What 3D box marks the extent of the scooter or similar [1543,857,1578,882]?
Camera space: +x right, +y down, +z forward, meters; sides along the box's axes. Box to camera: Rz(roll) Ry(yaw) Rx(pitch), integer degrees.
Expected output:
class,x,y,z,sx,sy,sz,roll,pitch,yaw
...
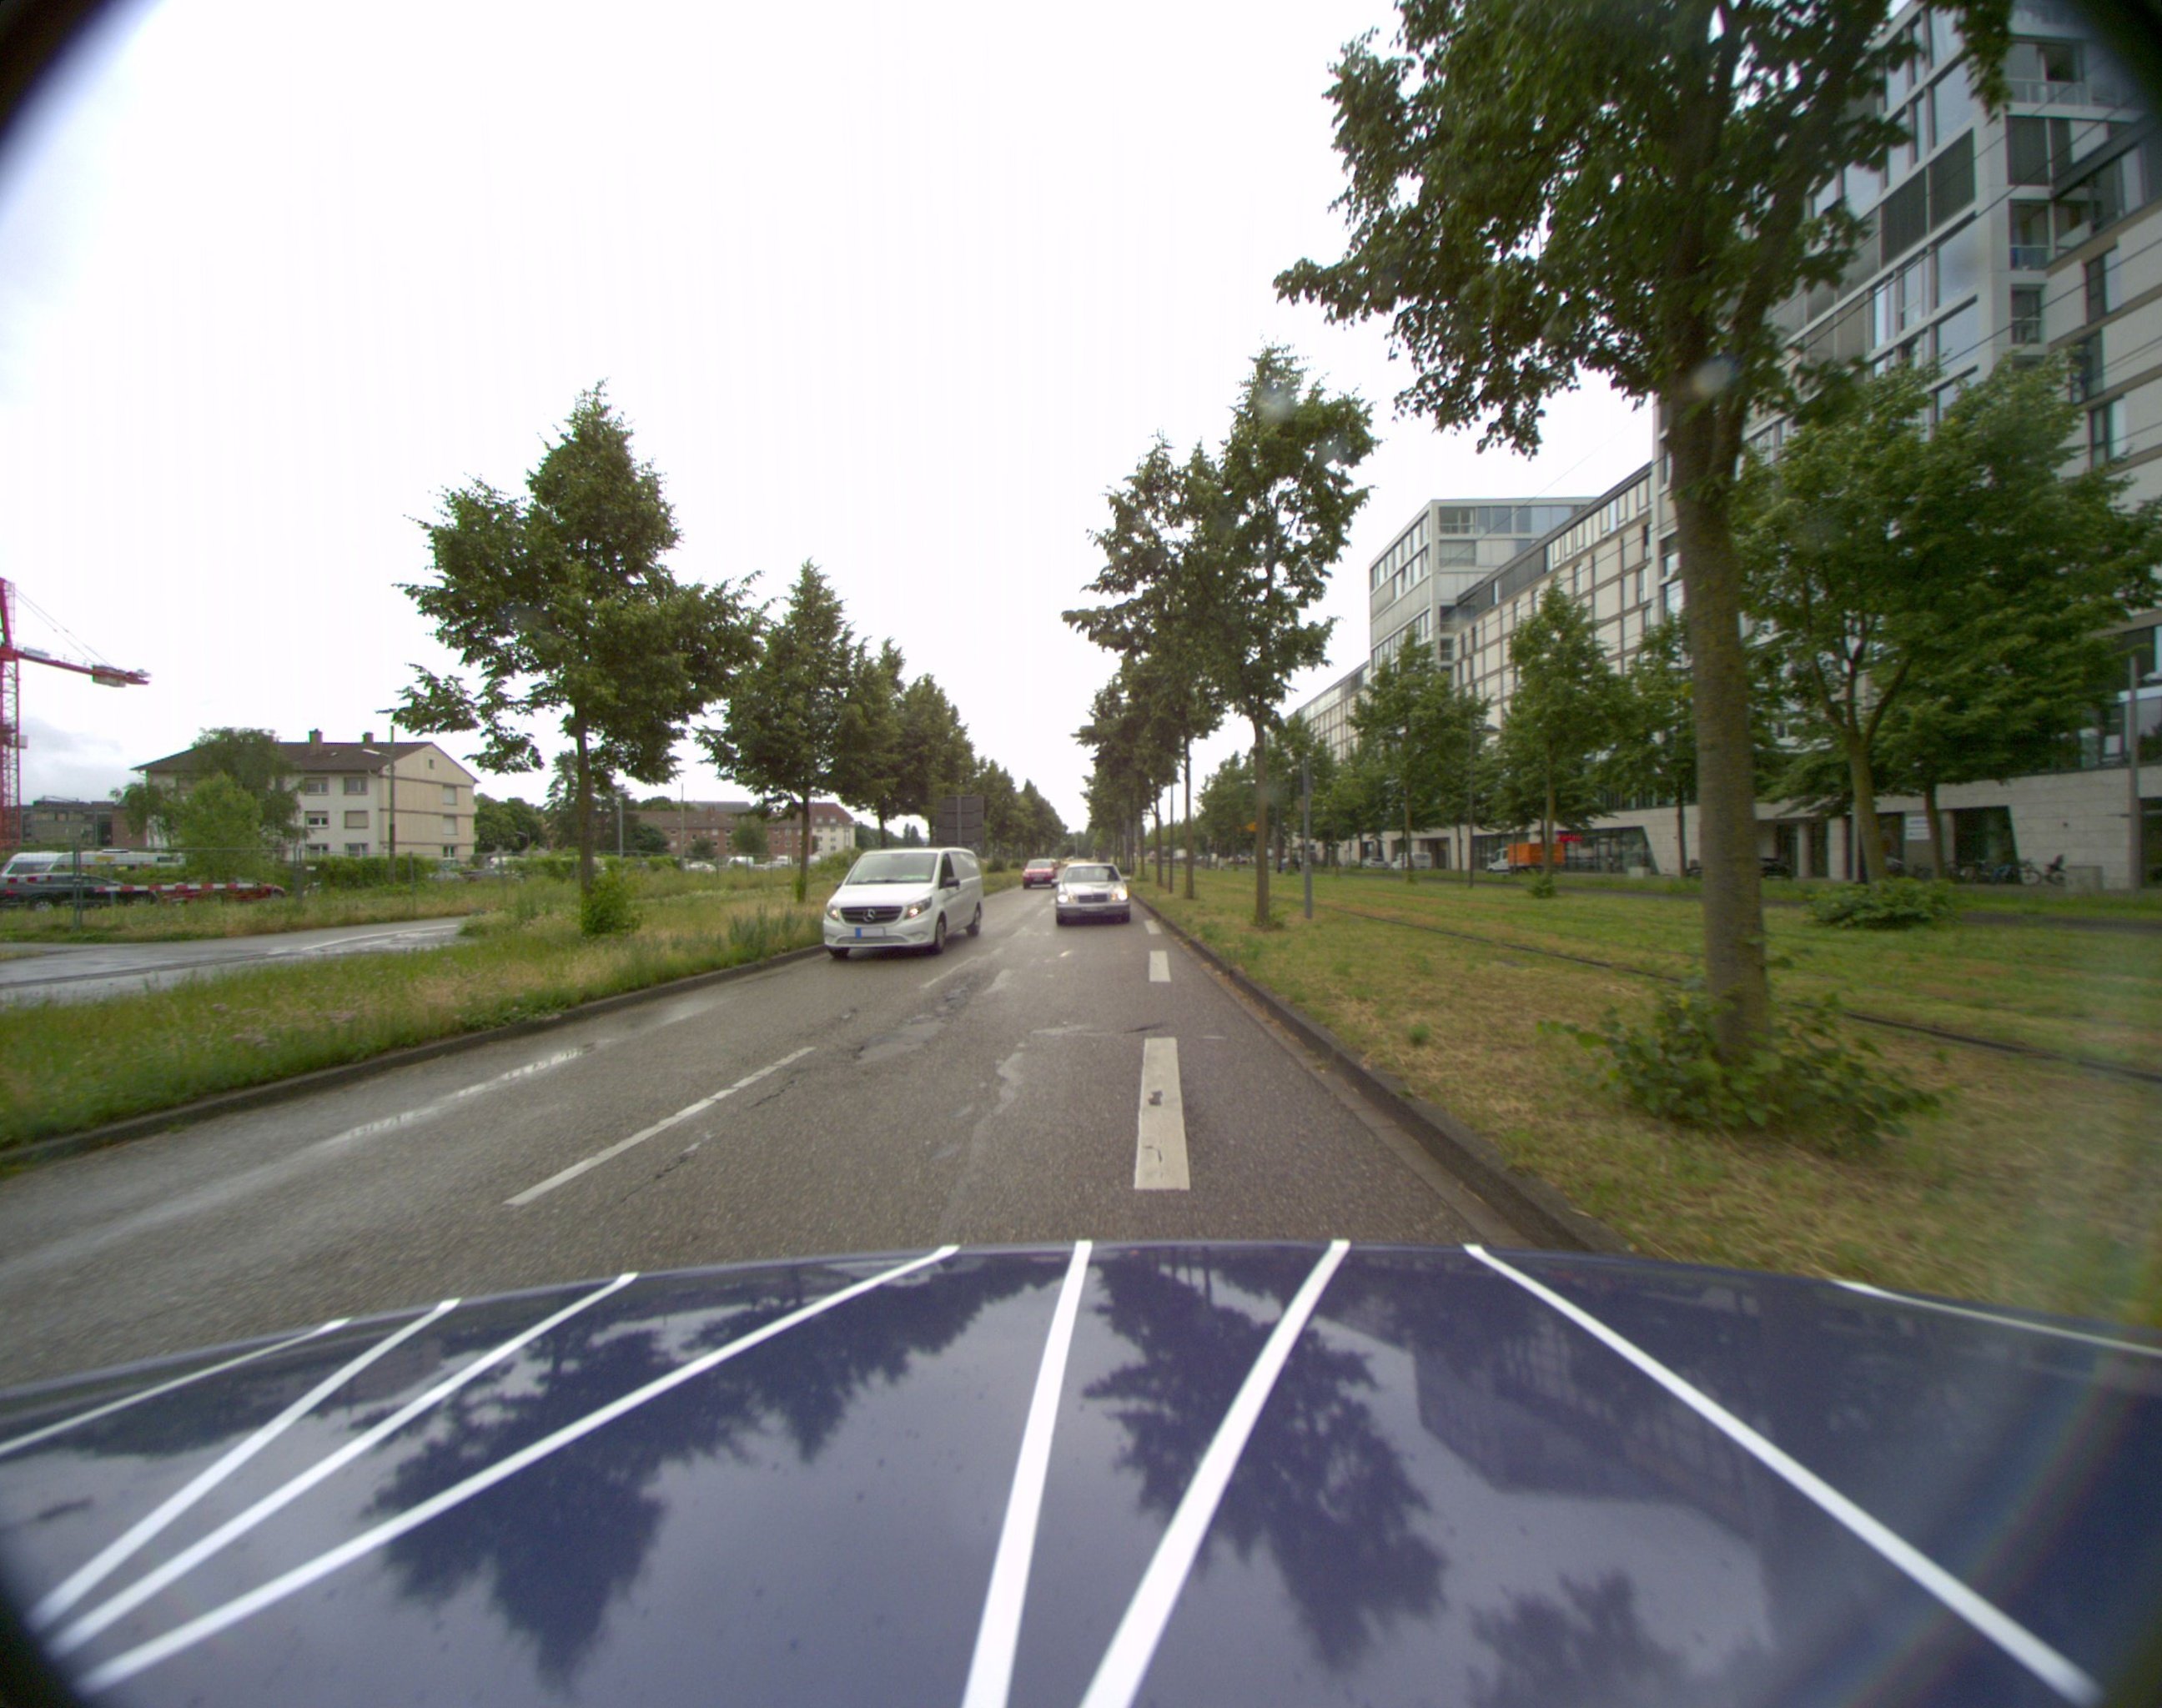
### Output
class,x,y,z,sx,sy,sz,roll,pitch,yaw
scooter or similar,36.483,1.173,57.850,2.130,1.814,0.885,-1,0,-3

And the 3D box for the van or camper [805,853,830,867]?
class,x,y,z,sx,sy,sz,roll,pitch,yaw
van or camper,-45.755,1.068,131.978,2.208,2.294,6.147,-2,0,-2

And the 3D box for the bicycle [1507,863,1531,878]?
class,x,y,z,sx,sy,sz,roll,pitch,yaw
bicycle,27.515,1.025,47.740,0.600,0.939,1.758,-1,0,4

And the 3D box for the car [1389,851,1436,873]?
class,x,y,z,sx,sy,sz,roll,pitch,yaw
car,29.698,0.723,68.258,1.999,1.841,5.164,-1,0,0

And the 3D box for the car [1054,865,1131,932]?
class,x,y,z,sx,sy,sz,roll,pitch,yaw
car,0.263,1.043,19.712,1.738,1.451,4.607,-1,0,0

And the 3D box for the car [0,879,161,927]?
class,x,y,z,sx,sy,sz,roll,pitch,yaw
car,-38.746,1.818,29.036,1.859,1.592,4.235,-1,0,6

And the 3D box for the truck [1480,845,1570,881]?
class,x,y,z,sx,sy,sz,roll,pitch,yaw
truck,29.896,0.574,51.452,2.432,2.278,6.309,-1,0,0

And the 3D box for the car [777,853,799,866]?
class,x,y,z,sx,sy,sz,roll,pitch,yaw
car,-52.320,0.944,135.623,2.278,2.206,4.758,-1,0,-3

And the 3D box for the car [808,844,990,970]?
class,x,y,z,sx,sy,sz,roll,pitch,yaw
car,-3.180,0.828,14.508,1.972,1.968,5.092,-1,0,3

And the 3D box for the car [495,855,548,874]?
class,x,y,z,sx,sy,sz,roll,pitch,yaw
car,-61.659,1.114,83.825,2.168,1.883,5.205,3,0,-3

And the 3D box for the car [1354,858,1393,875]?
class,x,y,z,sx,sy,sz,roll,pitch,yaw
car,29.507,1.224,76.753,2.150,1.702,4.464,-1,0,0

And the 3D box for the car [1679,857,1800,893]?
class,x,y,z,sx,sy,sz,roll,pitch,yaw
car,28.883,0.891,33.504,1.859,1.456,3.988,-1,0,0

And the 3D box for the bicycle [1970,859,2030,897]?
class,x,y,z,sx,sy,sz,roll,pitch,yaw
bicycle,38.319,0.984,31.694,1.708,1.529,0.681,-1,0,0

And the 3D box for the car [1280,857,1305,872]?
class,x,y,z,sx,sy,sz,roll,pitch,yaw
car,24.187,1.207,86.991,1.998,1.647,3.701,-1,0,5

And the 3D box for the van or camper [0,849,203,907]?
class,x,y,z,sx,sy,sz,roll,pitch,yaw
van or camper,-54.785,1.248,42.690,2.914,2.976,6.777,-1,0,1

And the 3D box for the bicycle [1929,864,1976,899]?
class,x,y,z,sx,sy,sz,roll,pitch,yaw
bicycle,38.437,1.212,33.508,1.436,1.474,0.546,-1,0,0

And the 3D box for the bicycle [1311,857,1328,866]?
class,x,y,z,sx,sy,sz,roll,pitch,yaw
bicycle,29.495,0.942,94.008,1.983,1.028,0.696,-1,0,2

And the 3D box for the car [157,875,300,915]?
class,x,y,z,sx,sy,sz,roll,pitch,yaw
car,-38.912,1.840,34.847,1.859,1.592,4.002,-1,0,6

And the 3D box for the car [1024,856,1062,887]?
class,x,y,z,sx,sy,sz,roll,pitch,yaw
car,-2.094,0.960,43.163,1.799,1.602,4.246,-1,0,2

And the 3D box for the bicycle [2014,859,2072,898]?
class,x,y,z,sx,sy,sz,roll,pitch,yaw
bicycle,38.574,0.972,30.479,1.572,1.529,0.607,-1,0,0

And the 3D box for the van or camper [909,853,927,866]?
class,x,y,z,sx,sy,sz,roll,pitch,yaw
van or camper,-40.603,1.354,189.122,2.343,3.017,5.515,-2,0,11
